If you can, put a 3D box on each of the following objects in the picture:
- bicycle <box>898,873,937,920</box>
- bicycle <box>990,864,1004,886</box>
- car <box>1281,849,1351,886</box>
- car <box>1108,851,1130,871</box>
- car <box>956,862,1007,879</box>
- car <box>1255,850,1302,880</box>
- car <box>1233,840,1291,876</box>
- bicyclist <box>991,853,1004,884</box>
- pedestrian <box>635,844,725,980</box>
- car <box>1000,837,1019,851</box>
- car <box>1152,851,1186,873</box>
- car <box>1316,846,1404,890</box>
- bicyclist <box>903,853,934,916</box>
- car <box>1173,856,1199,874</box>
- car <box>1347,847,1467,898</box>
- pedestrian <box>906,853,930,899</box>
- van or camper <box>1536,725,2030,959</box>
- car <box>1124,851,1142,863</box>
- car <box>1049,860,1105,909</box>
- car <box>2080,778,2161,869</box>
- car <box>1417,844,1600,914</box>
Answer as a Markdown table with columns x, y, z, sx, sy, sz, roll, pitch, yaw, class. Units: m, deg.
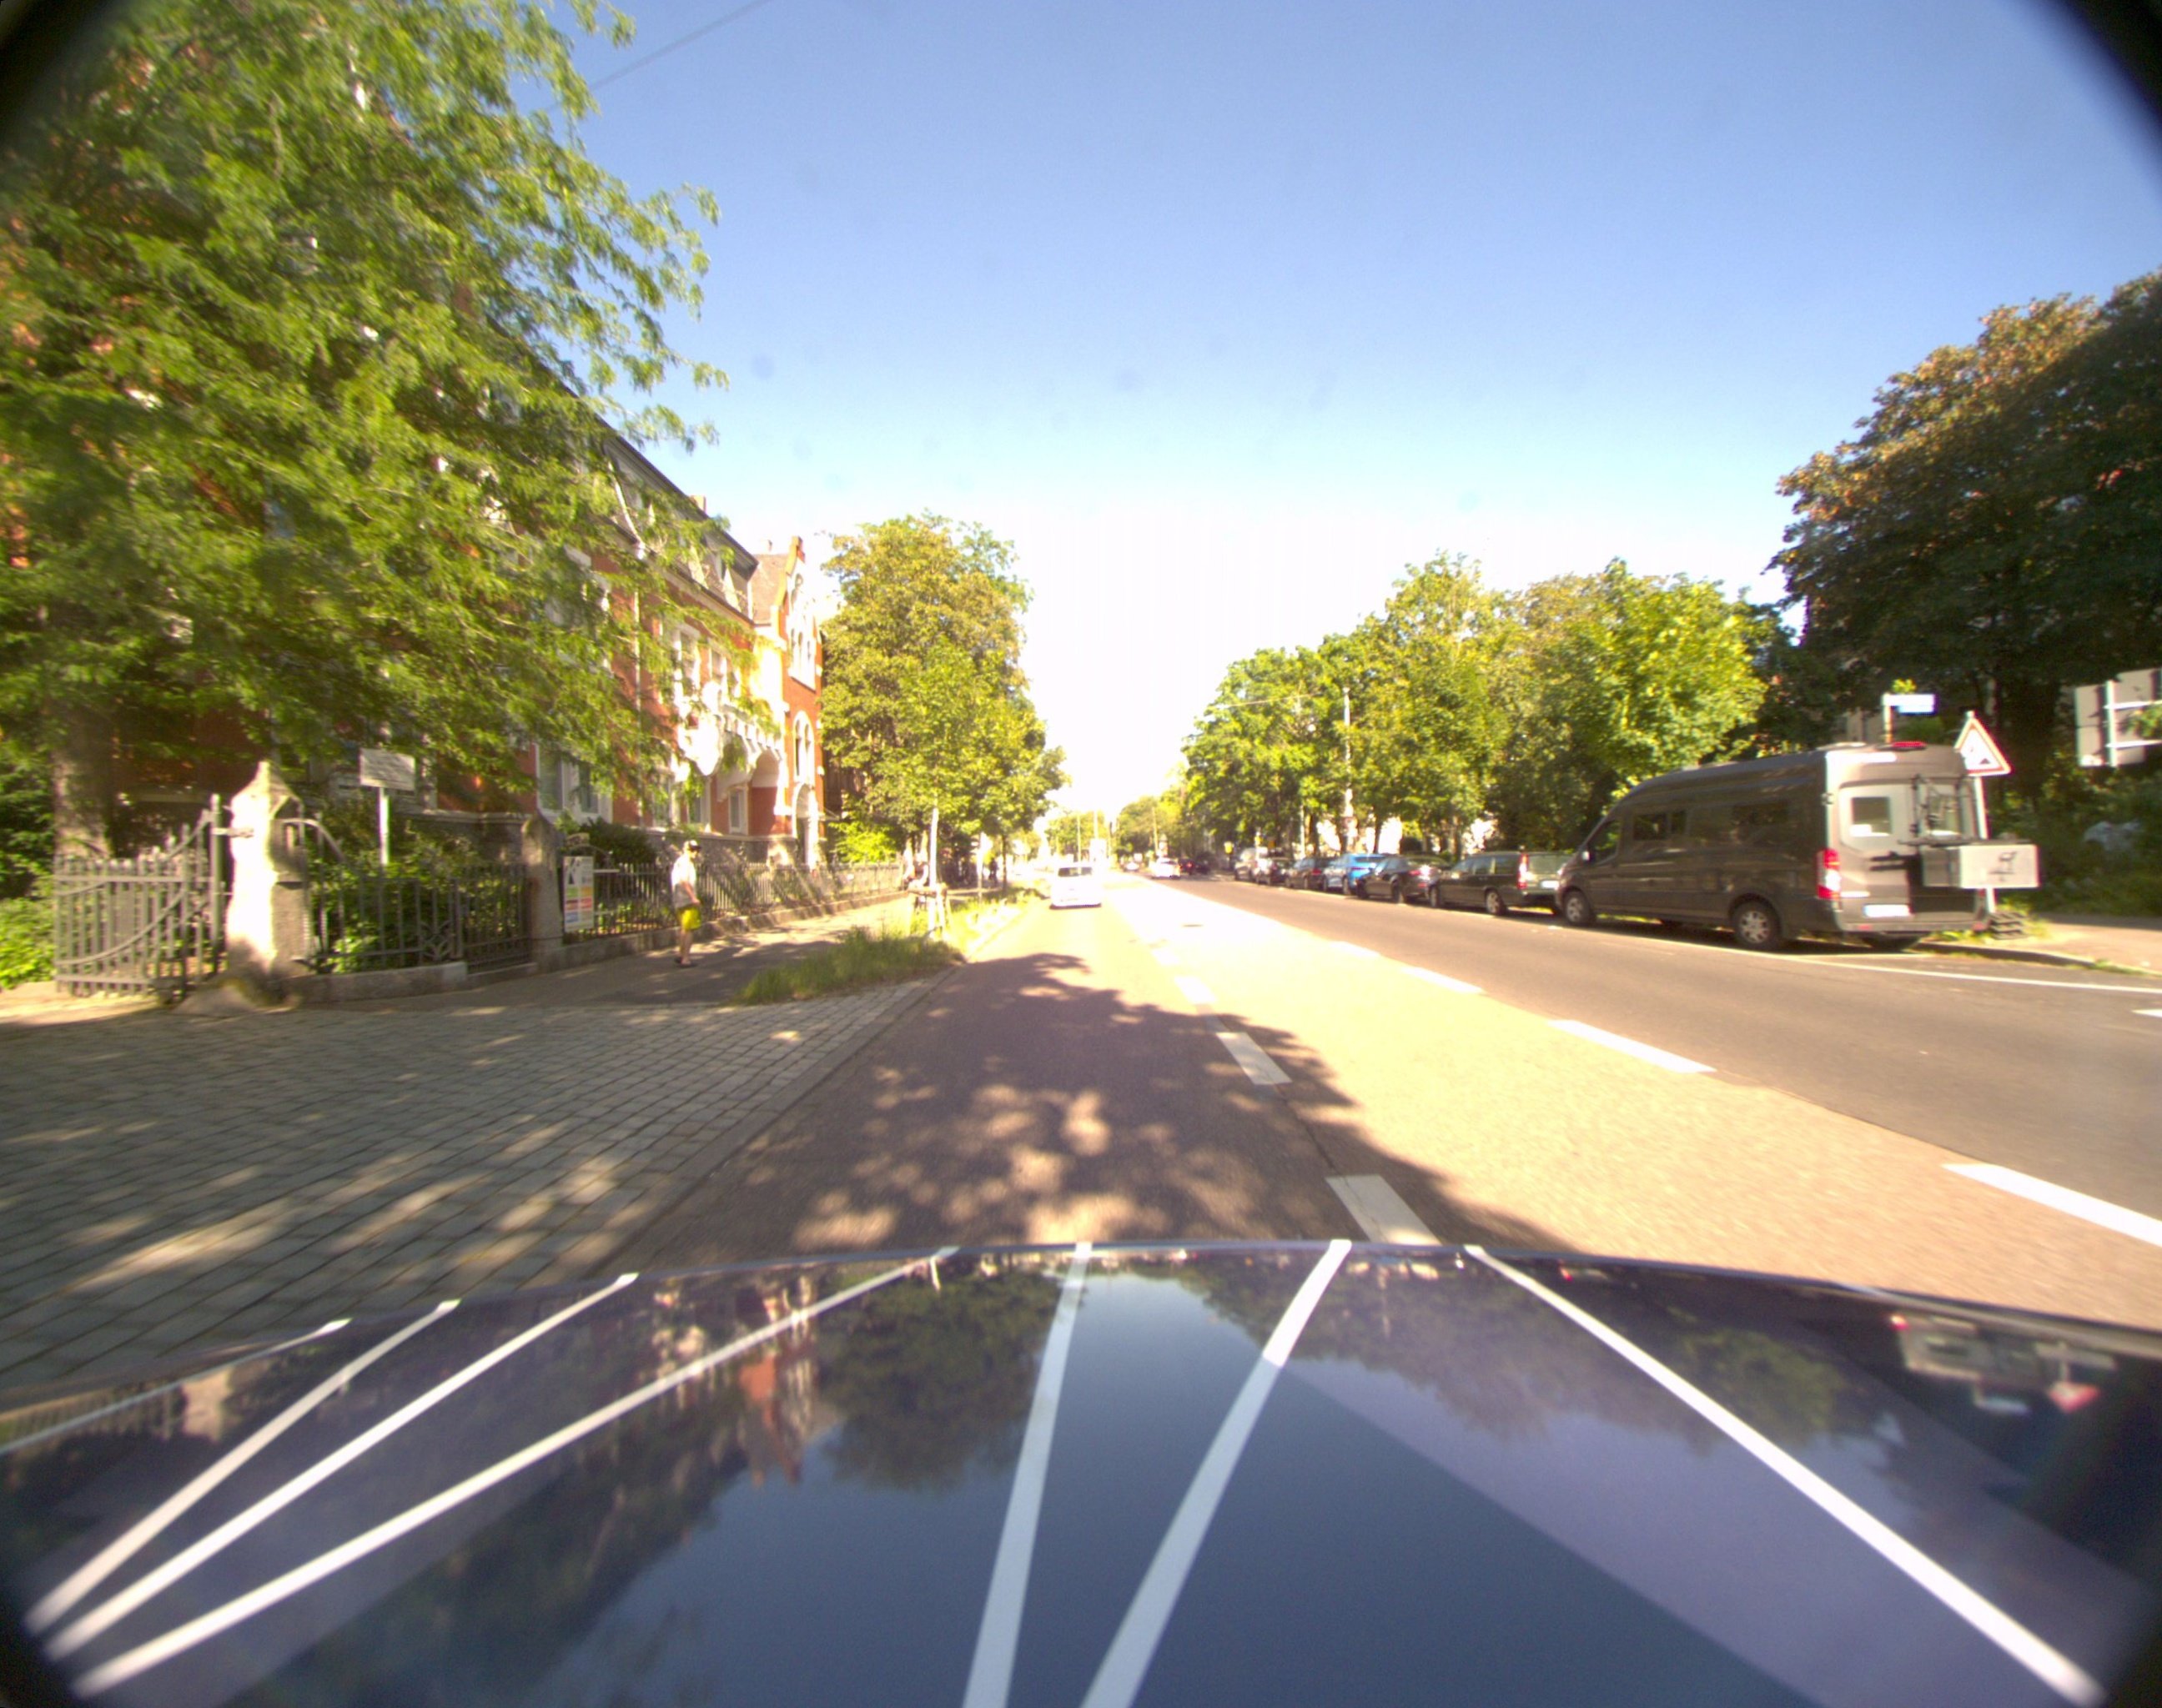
| x | y | z | sx | sy | sz | roll | pitch | yaw | class |
| --- | --- | --- | --- | --- | --- | --- | --- | --- | --- |
| -4.463 | 1.130 | 20.841 | 0.654 | 1.169 | 1.843 | 1 | 0 | -1 | bicycle |
| -4.676 | 1.184 | 42.393 | 0.617 | 1.169 | 1.918 | 1 | 0 | -4 | bicycle |
| 10.311 | 0.537 | 33.628 | 1.594 | 1.474 | 4.270 | -1 | 1 | -3 | car |
| 3.648 | 0.708 | 73.666 | 1.694 | 1.862 | 3.560 | -1 | 0 | -4 | car |
| -9.189 | 1.507 | 70.264 | 4.417 | 1.409 | 2.047 | -1 | 0 | 1 | car |
| 10.357 | 0.542 | 40.148 | 1.467 | 1.493 | 3.958 | -1 | 1 | 0 | car |
| 10.578 | 0.227 | 44.832 | 1.989 | 2.024 | 4.873 | 0 | 0 | -4 | car |
| -4.666 | 0.799 | 42.419 | 0.622 | 1.680 | 0.820 | 1 | 0 | -4 | bicyclist |
| -5.532 | 0.762 | 10.495 | 0.748 | 1.777 | 0.812 | 2 | 1 | 34 | pedestrian |
| -7.650 | -1.020 | 81.226 | 1.847 | 1.432 | 4.104 | 1 | 0 | -4 | car |
| 6.146 | 0.541 | 53.523 | 1.923 | 1.411 | 4.225 | -2 | 0 | 0 | car |
| 10.441 | 0.490 | 28.792 | 1.784 | 1.529 | 4.559 | -1 | 0 | 2 | car |
| -4.455 | 0.830 | 20.868 | 0.647 | 1.685 | 0.889 | 1 | 0 | -1 | bicyclist |
| 8.810 | 0.900 | 64.039 | 1.596 | 1.441 | 4.133 | -2 | 0 | 0 | car |
| 9.764 | 0.502 | 23.142 | 1.785 | 1.405 | 4.405 | 0 | 0 | 0 | car |
| -6.003 | 0.805 | 28.013 | 0.696 | 1.649 | 0.820 | 1 | 1 | -1 | pedestrian |
| 10.224 | -0.144 | 12.126 | 2.222 | 2.723 | 6.088 | -2 | 0 | 0 | van or camper |
| 6.667 | 0.385 | 98.028 | 1.843 | 1.482 | 3.779 | -1 | 0 | -4 | car |
| -0.060 | 0.973 | 25.959 | 1.652 | 1.449 | 3.897 | -3 | 0 | 3 | car |
| 23.258 | -0.635 | 15.308 | 1.860 | 1.903 | 4.458 | 0 | 2 | 25 | car |
| 9.954 | 0.520 | 18.206 | 1.698 | 1.448 | 4.663 | 0 | 0 | -1 | car |
